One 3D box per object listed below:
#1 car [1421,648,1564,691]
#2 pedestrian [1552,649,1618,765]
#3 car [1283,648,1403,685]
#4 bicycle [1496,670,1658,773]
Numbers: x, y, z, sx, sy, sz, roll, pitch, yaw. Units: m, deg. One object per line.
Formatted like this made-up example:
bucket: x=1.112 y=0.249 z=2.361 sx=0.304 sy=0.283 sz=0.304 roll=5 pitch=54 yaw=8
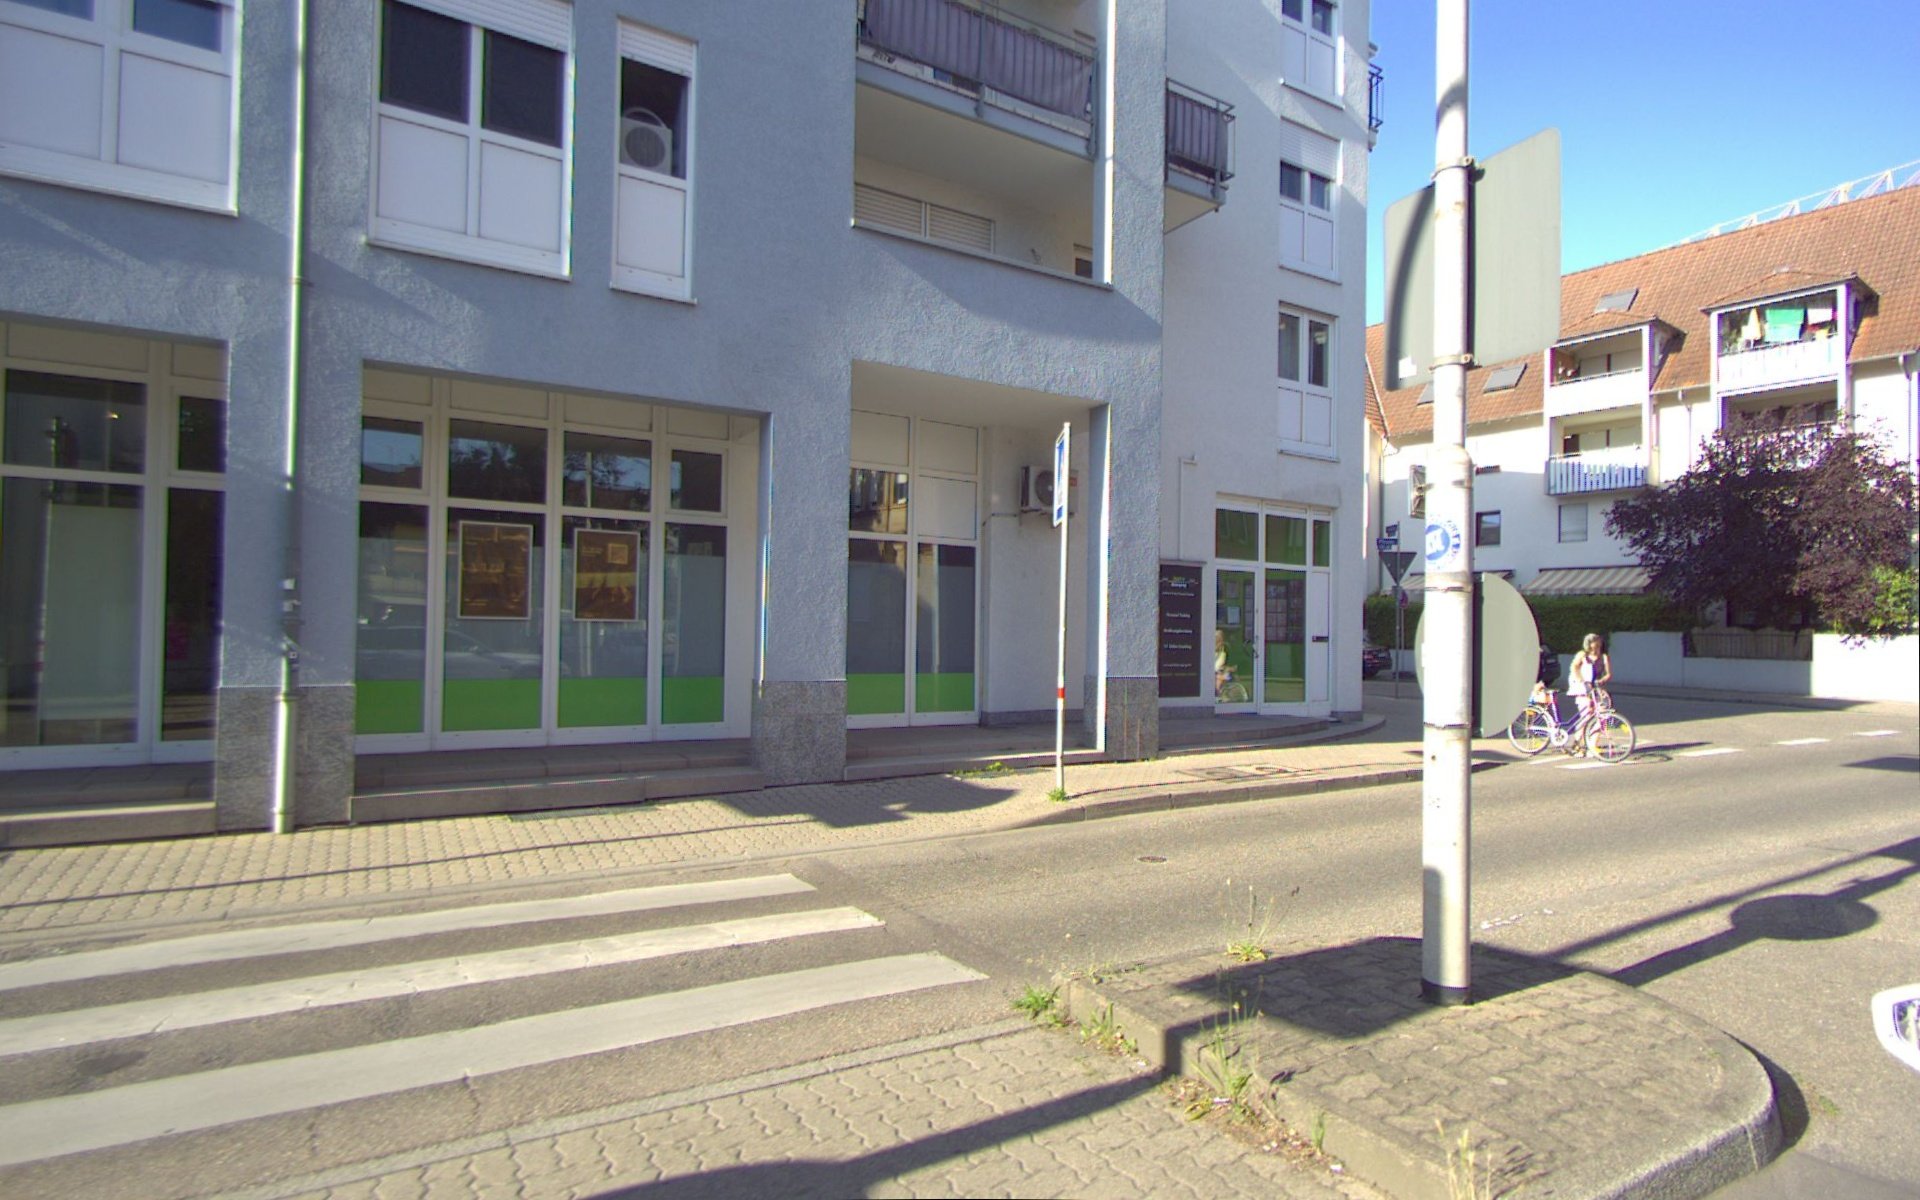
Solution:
car: x=16.241 y=2.087 z=30.774 sx=1.599 sy=1.196 sz=3.520 roll=0 pitch=-3 yaw=-34
pedestrian: x=8.433 y=1.418 z=13.554 sx=0.595 sy=1.492 sz=0.553 roll=1 pitch=-2 yaw=-34
car: x=13.398 y=2.290 z=35.311 sx=1.659 sy=1.196 sz=3.653 roll=0 pitch=-3 yaw=-34
bicycle: x=8.165 y=1.566 z=13.383 sx=0.592 sy=1.200 sz=1.779 roll=1 pitch=-2 yaw=-29
